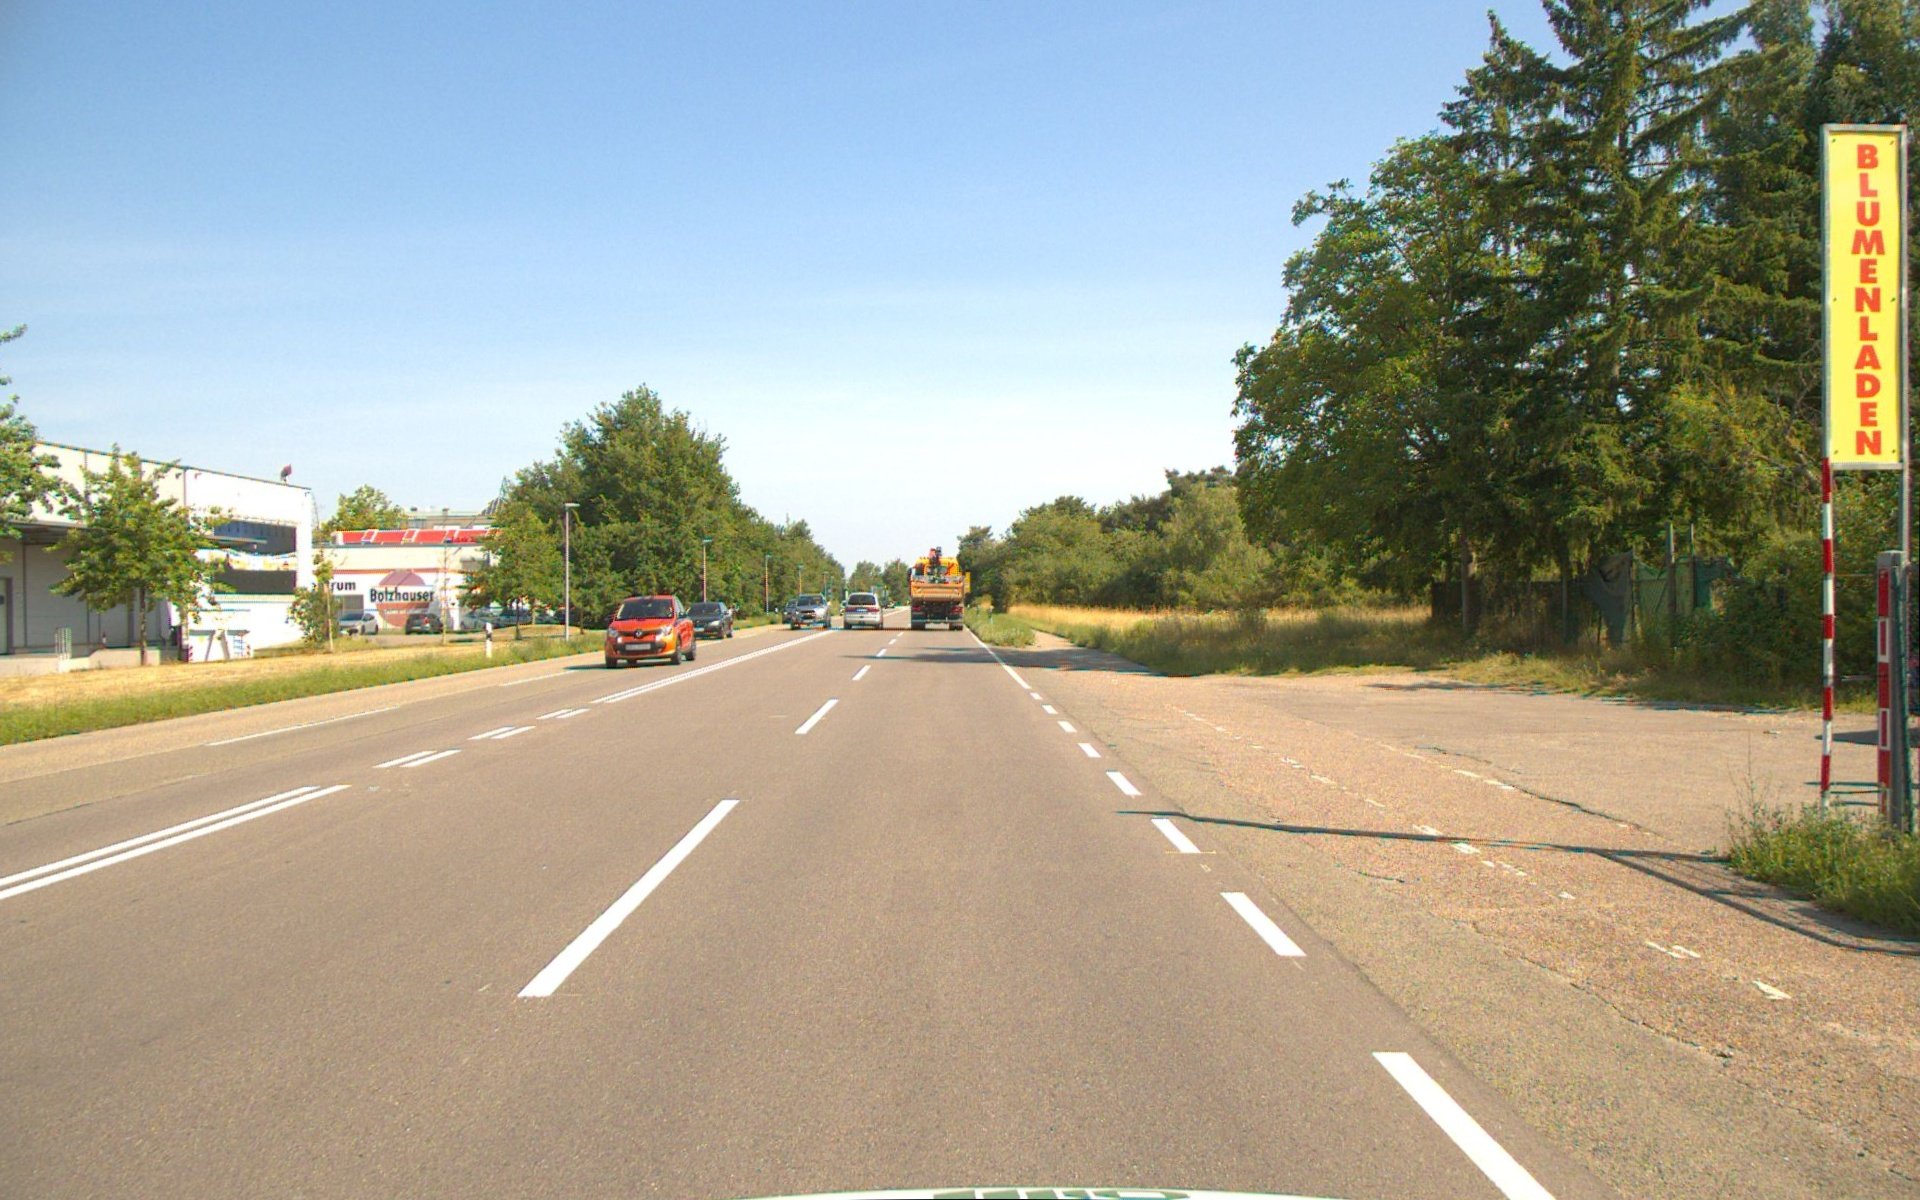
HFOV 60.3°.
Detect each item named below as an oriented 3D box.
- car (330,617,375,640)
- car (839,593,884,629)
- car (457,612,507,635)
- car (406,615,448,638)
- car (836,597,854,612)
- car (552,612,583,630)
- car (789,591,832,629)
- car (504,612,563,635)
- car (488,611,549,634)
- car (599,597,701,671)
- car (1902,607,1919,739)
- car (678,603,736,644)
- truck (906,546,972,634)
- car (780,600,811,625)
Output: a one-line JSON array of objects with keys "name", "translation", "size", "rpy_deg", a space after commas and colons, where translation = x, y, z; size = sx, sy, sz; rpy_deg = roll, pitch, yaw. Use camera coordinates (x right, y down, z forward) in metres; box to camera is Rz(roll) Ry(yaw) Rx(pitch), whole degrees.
[{"name": "car", "translation": [-39.420, 1.844, 107.470], "size": [1.603, 1.435, 3.721], "rpy_deg": [-1, 0, -1]}, {"name": "car", "translation": [-4.535, 0.473, 76.781], "size": [1.953, 1.611, 3.998], "rpy_deg": [-1, 0, -2]}, {"name": "car", "translation": [-33.272, 1.630, 115.020], "size": [1.727, 1.527, 3.935], "rpy_deg": [-1, 0, -44]}, {"name": "car", "translation": [-34.642, 1.717, 107.620], "size": [1.603, 1.414, 3.721], "rpy_deg": [-1, 0, -1]}, {"name": "car", "translation": [-11.955, 0.430, 172.288], "size": [1.625, 1.462, 3.734], "rpy_deg": [-3, 0, -1]}, {"name": "car", "translation": [-32.806, 1.717, 138.322], "size": [1.752, 1.373, 4.660], "rpy_deg": [-2, 0, -3]}, {"name": "car", "translation": [-7.402, 0.480, 82.080], "size": [1.736, 1.744, 4.568], "rpy_deg": [-3, 0, -1]}, {"name": "car", "translation": [-31.530, 1.723, 122.348], "size": [3.906, 1.527, 1.757], "rpy_deg": [-1, 0, -1]}, {"name": "car", "translation": [-31.552, 1.613, 118.254], "size": [3.906, 1.527, 1.757], "rpy_deg": [-1, 0, -1]}, {"name": "car", "translation": [-7.074, 0.738, 38.064], "size": [1.617, 1.523, 3.843], "rpy_deg": [-3, 0, -1]}, {"name": "car", "translation": [12.858, 0.793, 18.897], "size": [4.403, 1.455, 1.698], "rpy_deg": [-1, 0, -30]}, {"name": "car", "translation": [-10.055, 0.905, 66.072], "size": [1.619, 1.506, 4.739], "rpy_deg": [-3, 0, -1]}, {"name": "truck", "translation": [-1.067, -0.437, 79.084], "size": [2.815, 3.948, 7.395], "rpy_deg": [1, 0, -3]}, {"name": "car", "translation": [-10.931, 0.830, 110.018], "size": [1.694, 1.588, 4.214], "rpy_deg": [1, 0, -1]}]
